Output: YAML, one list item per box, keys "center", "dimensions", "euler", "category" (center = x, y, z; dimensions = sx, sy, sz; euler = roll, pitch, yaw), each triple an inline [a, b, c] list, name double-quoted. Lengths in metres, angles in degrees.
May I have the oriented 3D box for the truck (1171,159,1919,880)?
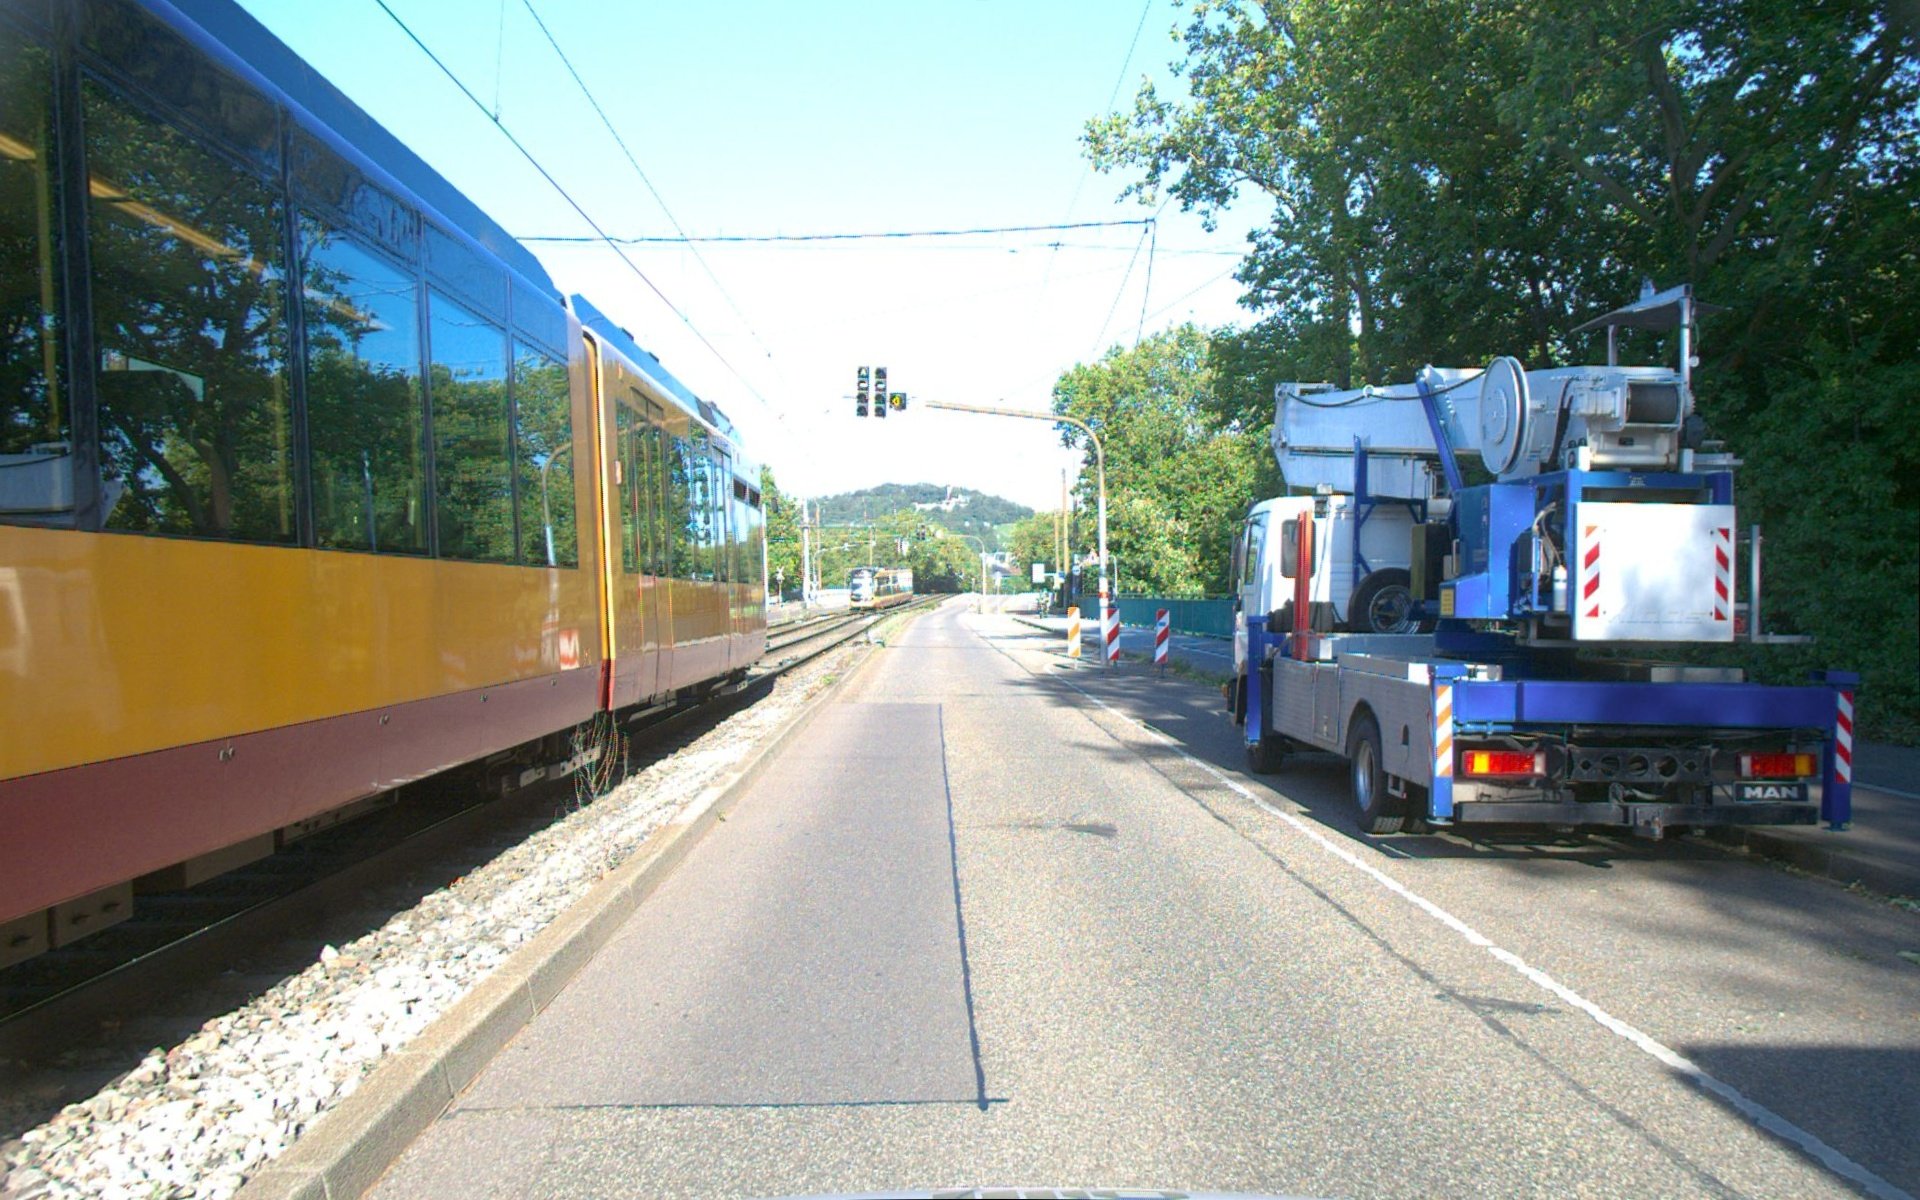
- center: [3.843, -0.451, 13.821]
  dimensions: [2.662, 3.849, 9.759]
  euler: [1, 0, -1]
  category: "truck"

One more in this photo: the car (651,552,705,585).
- center: [-13.039, -1.433, 76.719]
  dimensions: [1.731, 1.437, 4.911]
  euler: [-1, 0, -1]
  category: "car"

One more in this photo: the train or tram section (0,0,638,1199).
- center: [-3.758, -0.596, 7.549]
  dimensions: [2.640, 4.160, 9.909]
  euler: [-2, 0, -1]
  category: "train or tram section"

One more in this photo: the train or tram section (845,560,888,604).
- center: [-7.968, -1.553, 142.766]
  dimensions: [2.589, 3.629, 10.836]
  euler: [-1, 0, 3]
  category: "train or tram section"

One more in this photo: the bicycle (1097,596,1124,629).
- center: [5.748, 0.475, 63.317]
  dimensions: [0.713, 1.196, 2.694]
  euler: [-1, 0, -1]
  category: "bicycle"

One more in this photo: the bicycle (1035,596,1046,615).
- center: [4.581, 0.328, 94.554]
  dimensions: [0.504, 1.060, 1.975]
  euler: [-1, 0, -1]
  category: "bicycle"

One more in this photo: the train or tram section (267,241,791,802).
- center: [-3.905, -0.636, 18.889]
  dimensions: [2.664, 4.160, 12.811]
  euler: [-2, 0, -1]
  category: "train or tram section"

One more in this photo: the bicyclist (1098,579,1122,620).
- center: [5.738, -0.033, 63.386]
  dimensions: [0.807, 1.547, 0.975]
  euler: [-1, 0, -1]
  category: "bicyclist"

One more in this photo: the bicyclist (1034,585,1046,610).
- center: [4.583, -0.160, 94.596]
  dimensions: [0.592, 1.403, 0.975]
  euler: [-1, 0, -1]
  category: "bicyclist"
